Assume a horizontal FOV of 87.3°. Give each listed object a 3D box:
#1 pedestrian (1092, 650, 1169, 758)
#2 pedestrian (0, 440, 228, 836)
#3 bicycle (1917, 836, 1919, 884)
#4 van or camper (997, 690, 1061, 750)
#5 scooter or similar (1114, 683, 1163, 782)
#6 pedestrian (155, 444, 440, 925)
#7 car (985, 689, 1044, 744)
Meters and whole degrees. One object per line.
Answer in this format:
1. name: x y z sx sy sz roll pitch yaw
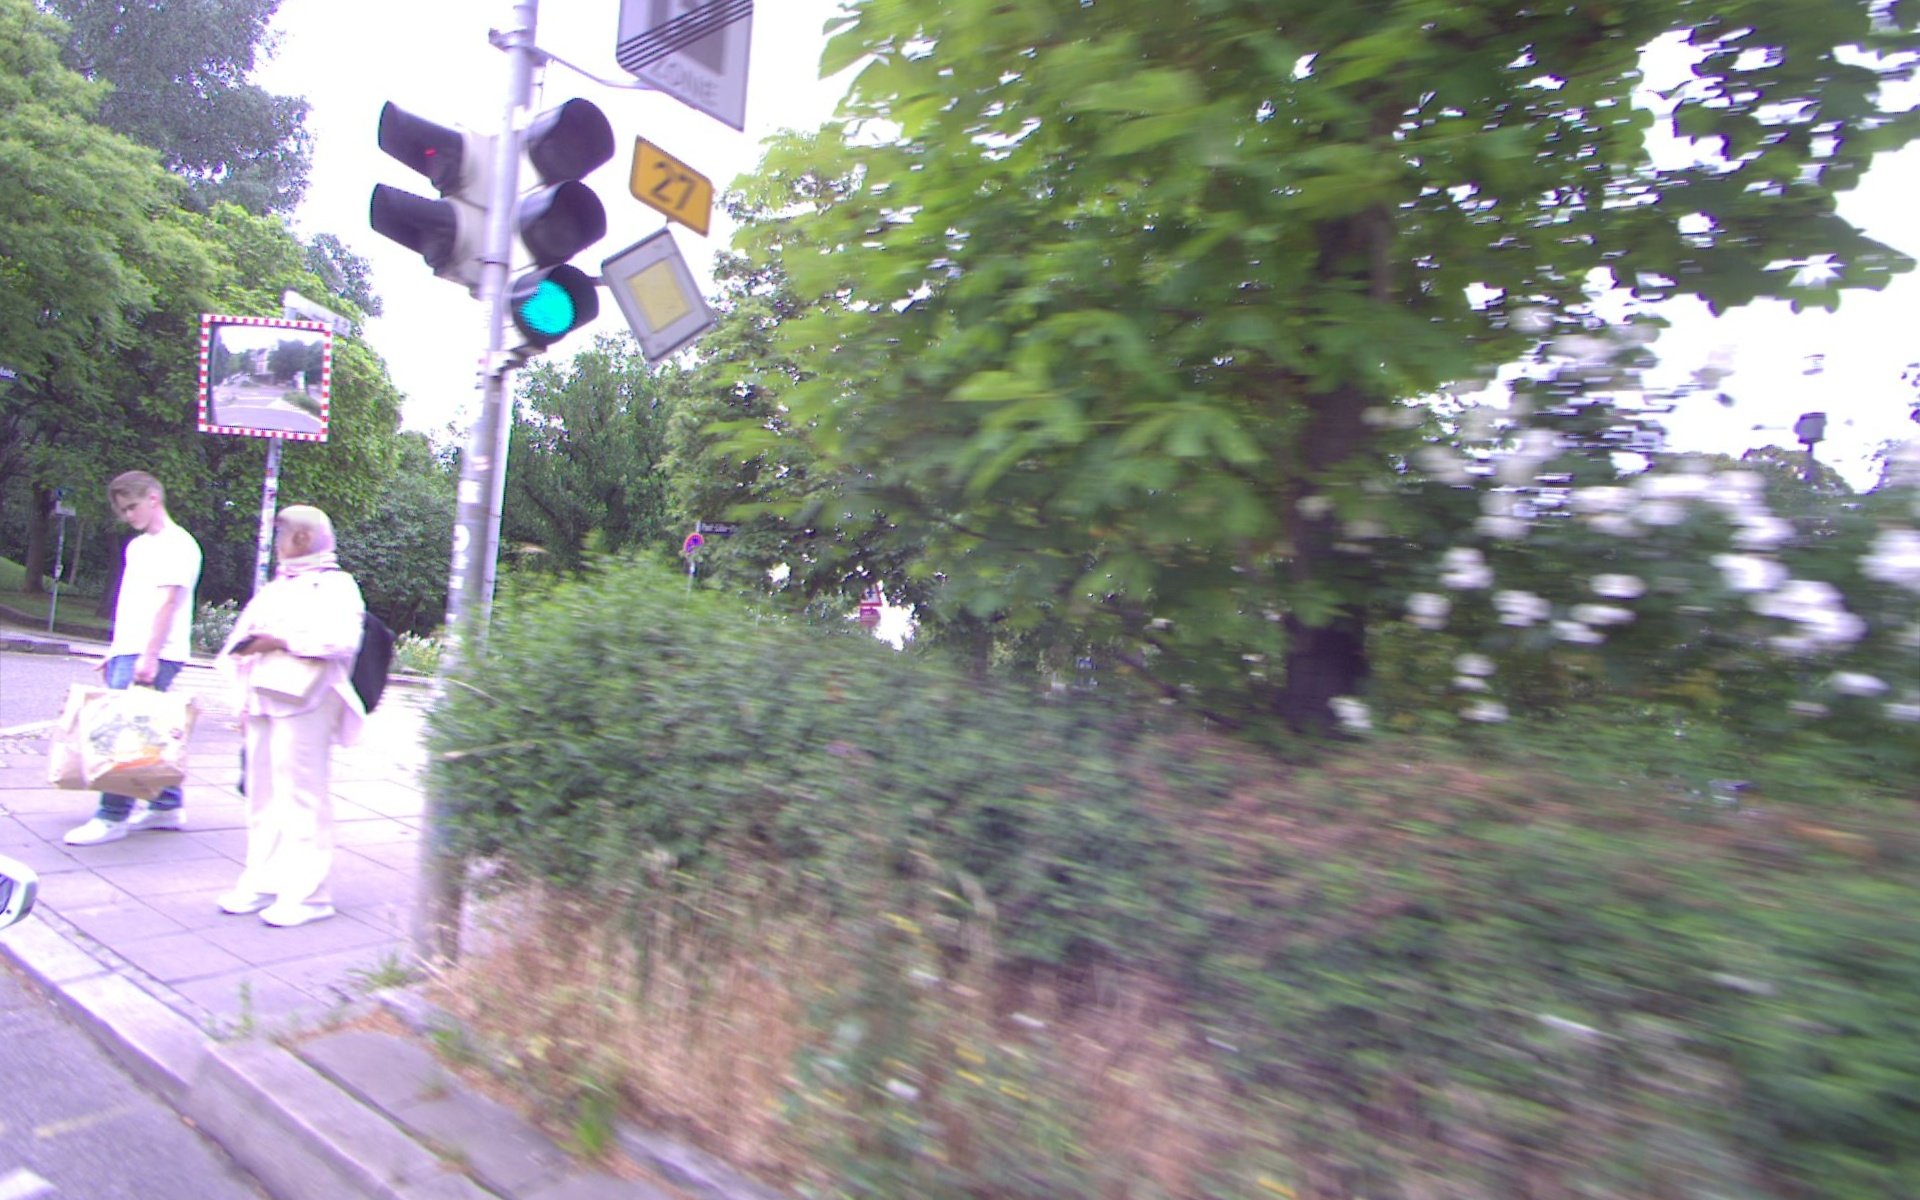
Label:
1. pedestrian: 3.253 1.979 19.235 0.959 1.906 0.848 10 -5 -40
2. pedestrian: -4.112 0.166 4.852 0.716 1.733 0.615 5 0 36
3. bicycle: 22.762 5.866 21.753 0.918 1.157 2.920 11 -5 -43
4. van or camper: 2.650 4.700 39.594 1.855 1.996 4.482 7 -6 -1
5. scooter or similar: 2.446 1.811 13.797 0.491 1.238 1.252 6 -6 11
6. pedestrian: -2.673 0.303 4.067 0.716 1.733 0.615 5 0 36
7. car: 2.396 5.167 45.125 1.964 2.034 4.005 8 -4 -3
